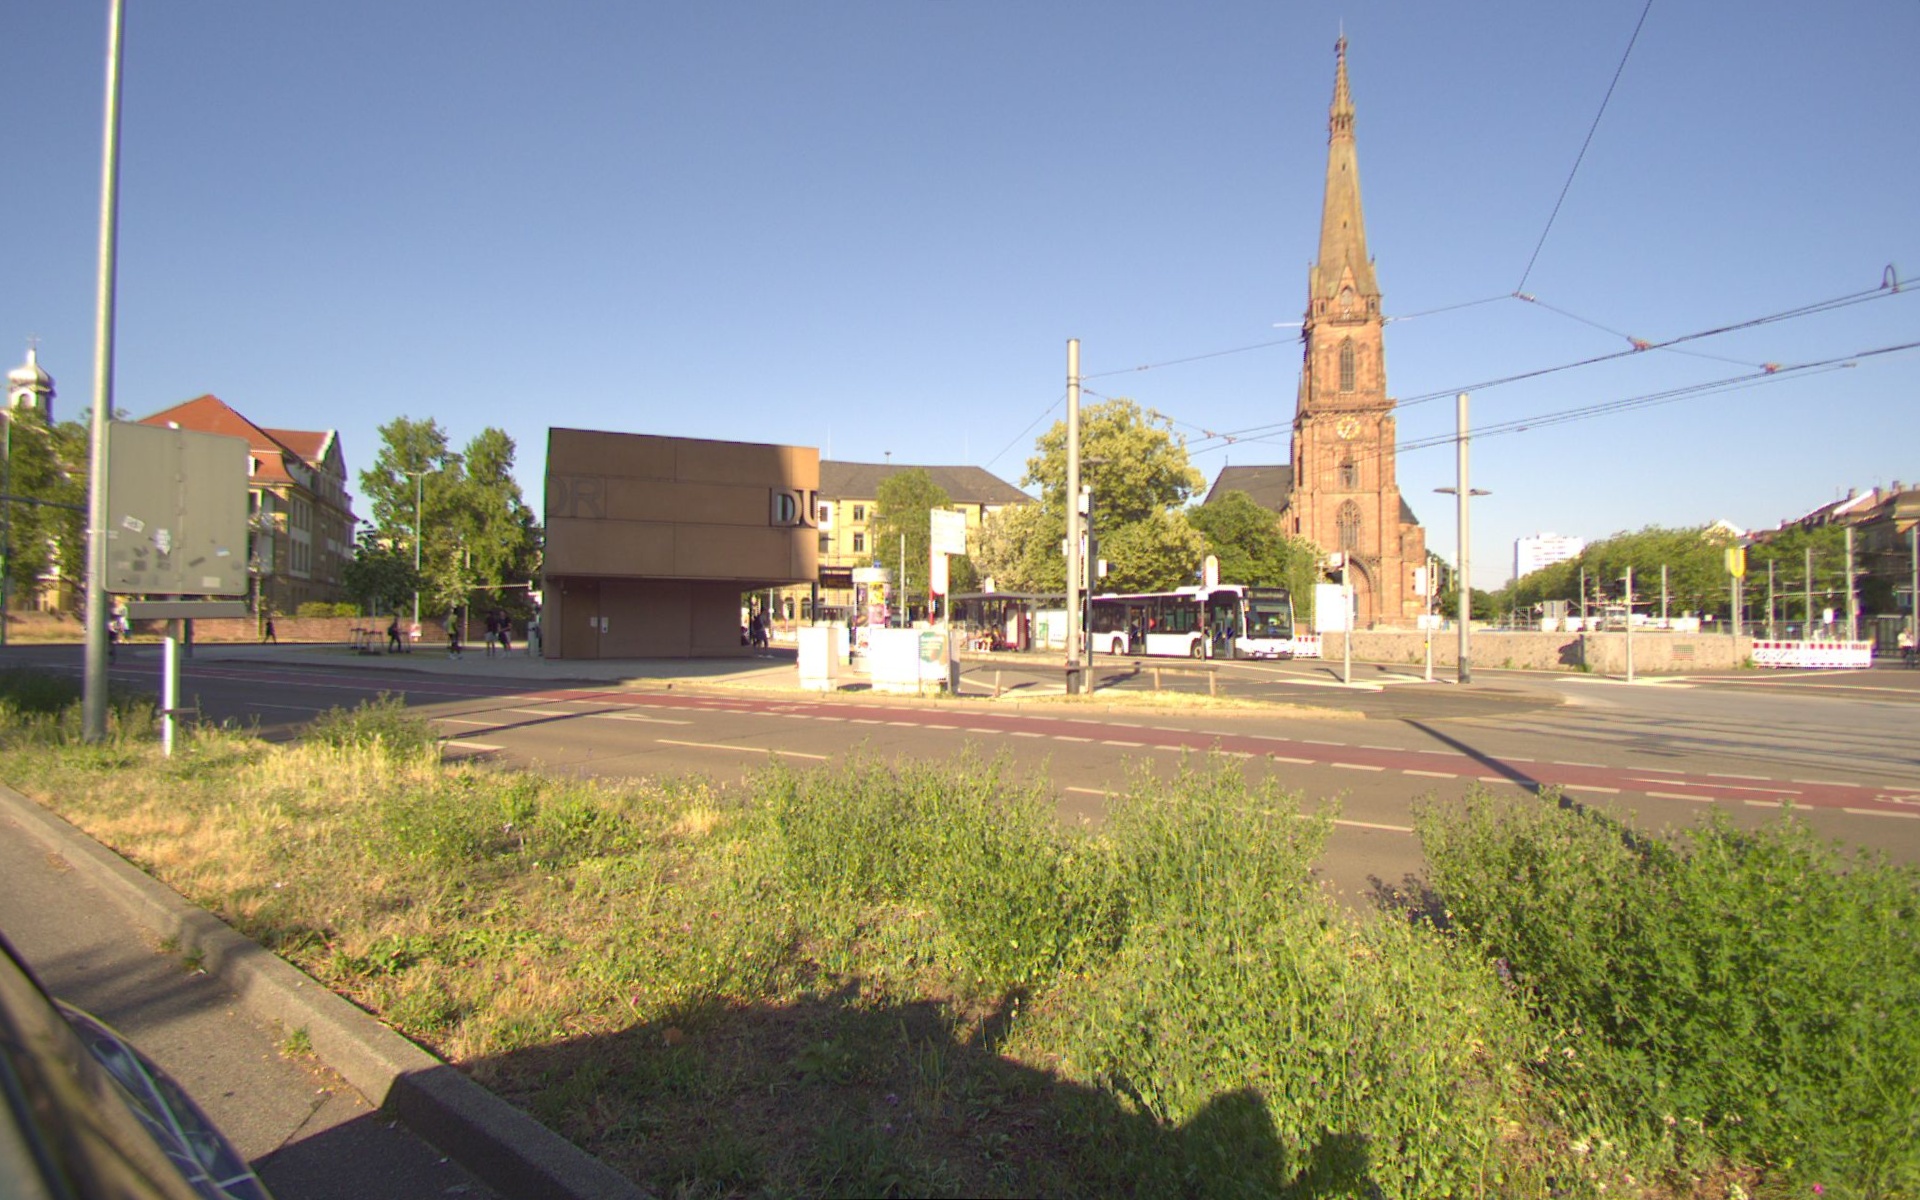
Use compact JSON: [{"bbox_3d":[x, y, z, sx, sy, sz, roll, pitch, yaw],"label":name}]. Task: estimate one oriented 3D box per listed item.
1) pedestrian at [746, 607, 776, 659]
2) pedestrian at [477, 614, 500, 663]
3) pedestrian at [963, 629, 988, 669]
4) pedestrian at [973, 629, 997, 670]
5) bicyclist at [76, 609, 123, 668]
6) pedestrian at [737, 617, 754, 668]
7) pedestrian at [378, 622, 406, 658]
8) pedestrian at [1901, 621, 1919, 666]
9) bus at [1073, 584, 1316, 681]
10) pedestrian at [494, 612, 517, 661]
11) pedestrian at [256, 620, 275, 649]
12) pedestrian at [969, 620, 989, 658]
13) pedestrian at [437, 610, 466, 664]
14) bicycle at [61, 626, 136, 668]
[{"bbox_3d":[-7.657,1.272,38.970,0.964,1.997,0.721,1,-3,-23],"label":"pedestrian"},{"bbox_3d":[-16.674,1.369,35.754,0.629,1.702,0.551,0,-3,-36],"label":"pedestrian"},{"bbox_3d":[0.777,2.472,50.954,0.979,1.997,0.831,1,-3,-21],"label":"pedestrian"},{"bbox_3d":[1.216,2.399,49.238,0.964,1.997,0.721,1,-3,-21],"label":"pedestrian"},{"bbox_3d":[-27.312,1.217,32.116,1.007,1.846,0.737,0,-1,22],"label":"bicyclist"},{"bbox_3d":[-8.730,1.718,41.170,0.604,2.029,0.809,-1,-2,-13],"label":"pedestrian"},{"bbox_3d":[-26.995,1.889,48.072,0.745,1.697,0.890,-1,-2,30],"label":"pedestrian"},{"bbox_3d":[38.705,1.766,41.022,0.727,1.791,0.785,-1,-2,37],"label":"pedestrian"},{"bbox_3d":[9.290,1.140,42.621,3.194,3.342,12.229,4,-1,-23],"label":"bus"},{"bbox_3d":[-16.623,1.340,37.013,0.723,1.744,0.667,-1,-2,-24],"label":"pedestrian"},{"bbox_3d":[-40.373,2.000,58.832,0.780,1.665,0.715,3,0,-33],"label":"pedestrian"},{"bbox_3d":[0.995,2.087,53.731,0.802,1.997,0.757,1,-3,-21],"label":"pedestrian"},{"bbox_3d":[-17.793,1.286,35.402,0.639,1.849,0.709,-4,-3,41],"label":"pedestrian"},{"bbox_3d":[-27.352,1.482,32.130,2.539,1.265,0.736,0,-1,23],"label":"bicycle"}]
